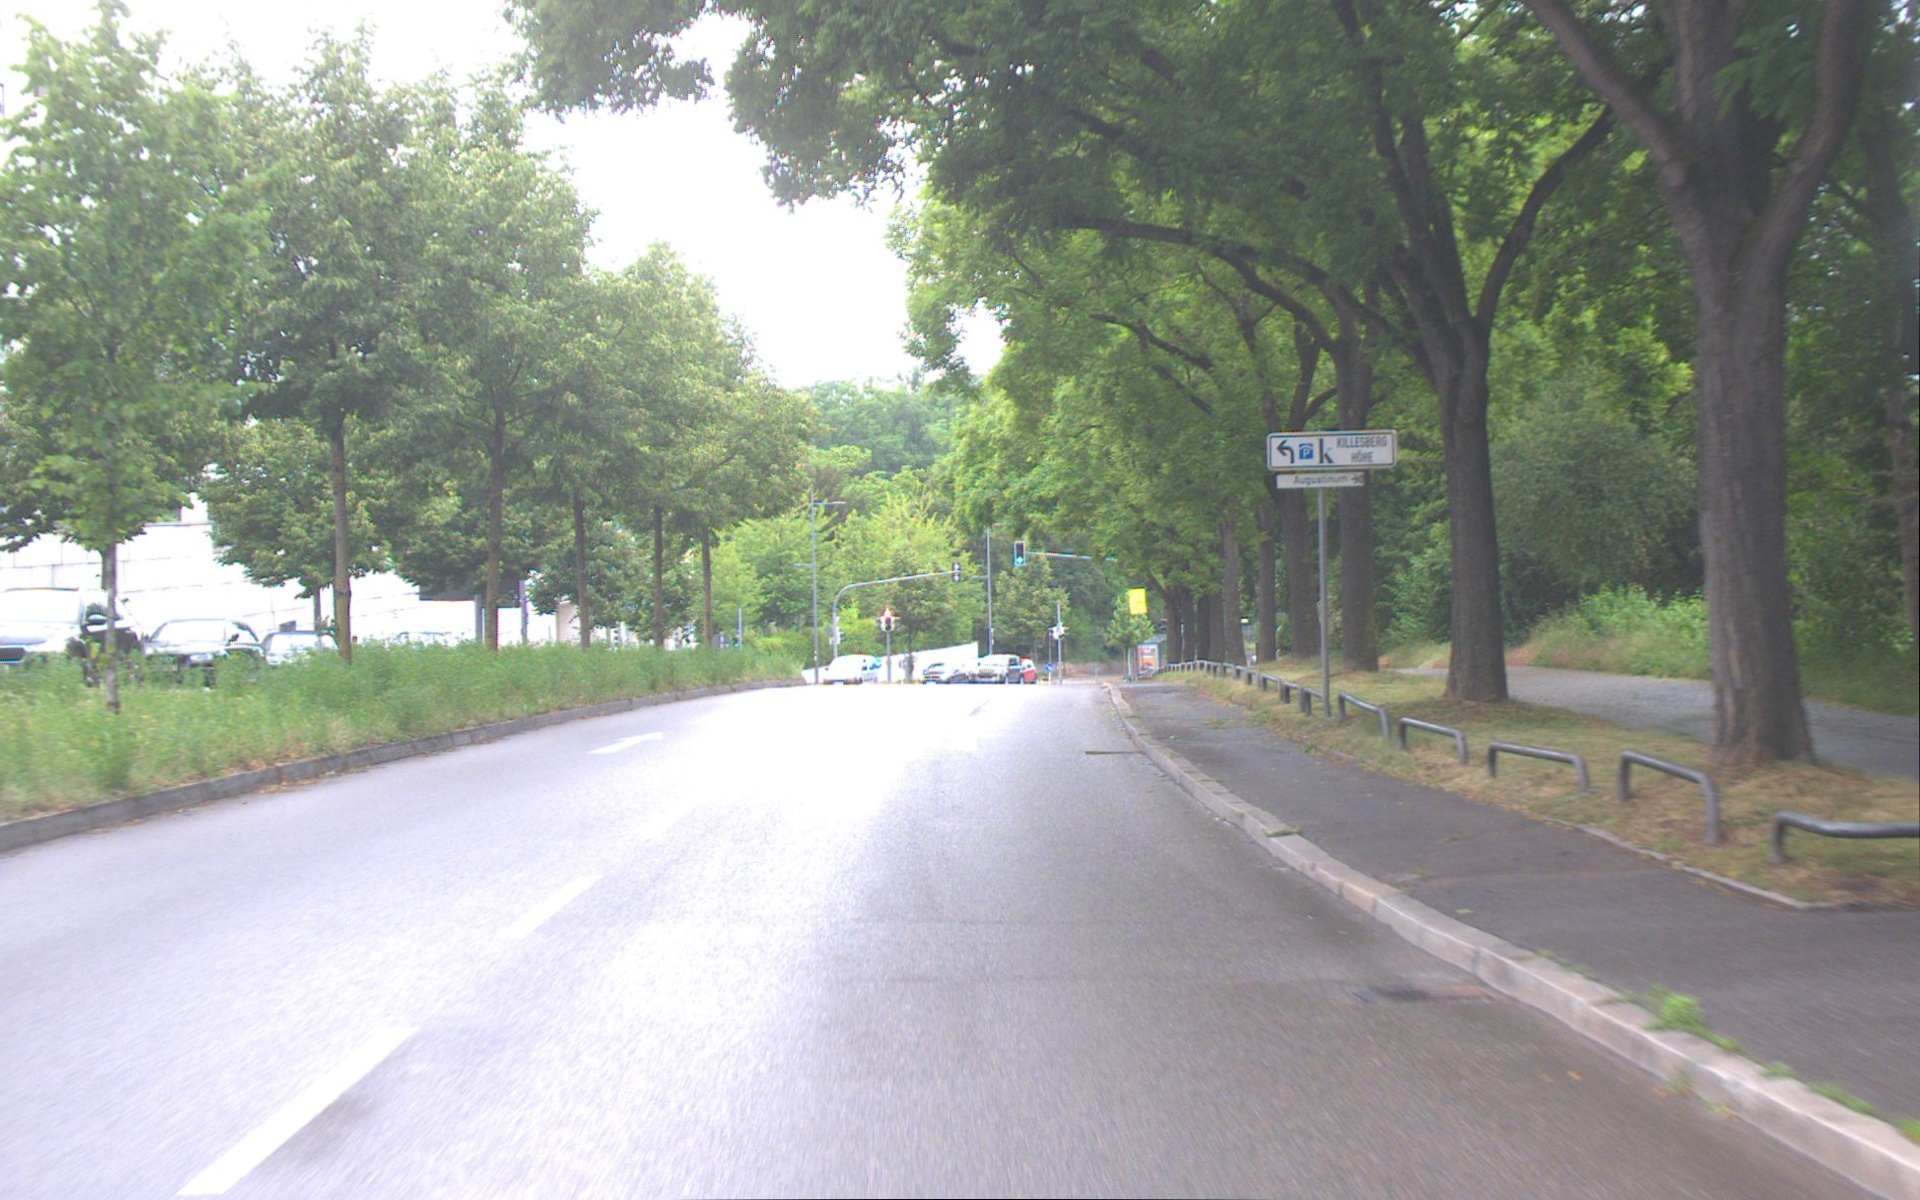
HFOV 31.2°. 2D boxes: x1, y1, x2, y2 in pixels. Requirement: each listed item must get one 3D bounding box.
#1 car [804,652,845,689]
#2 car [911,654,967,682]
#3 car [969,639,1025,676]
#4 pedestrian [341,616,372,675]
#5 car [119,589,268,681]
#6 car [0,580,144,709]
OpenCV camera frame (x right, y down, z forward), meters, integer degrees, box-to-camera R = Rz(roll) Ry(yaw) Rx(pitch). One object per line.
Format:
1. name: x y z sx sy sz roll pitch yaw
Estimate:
1. car: -6.558 3.413 166.407 1.710 1.741 4.337 -1 -1 1
2. car: -1.079 3.567 180.173 1.771 1.376 4.187 -3 -2 16
3. car: 2.058 3.177 190.671 1.922 1.851 4.503 -5 -2 15
4. pedestrian: -18.273 1.380 104.094 0.708 1.769 1.021 -1 -1 2
5. car: -14.207 0.619 63.903 1.695 1.576 4.017 0 1 3
6. car: -12.164 0.551 45.454 1.695 1.576 4.017 0 1 1
